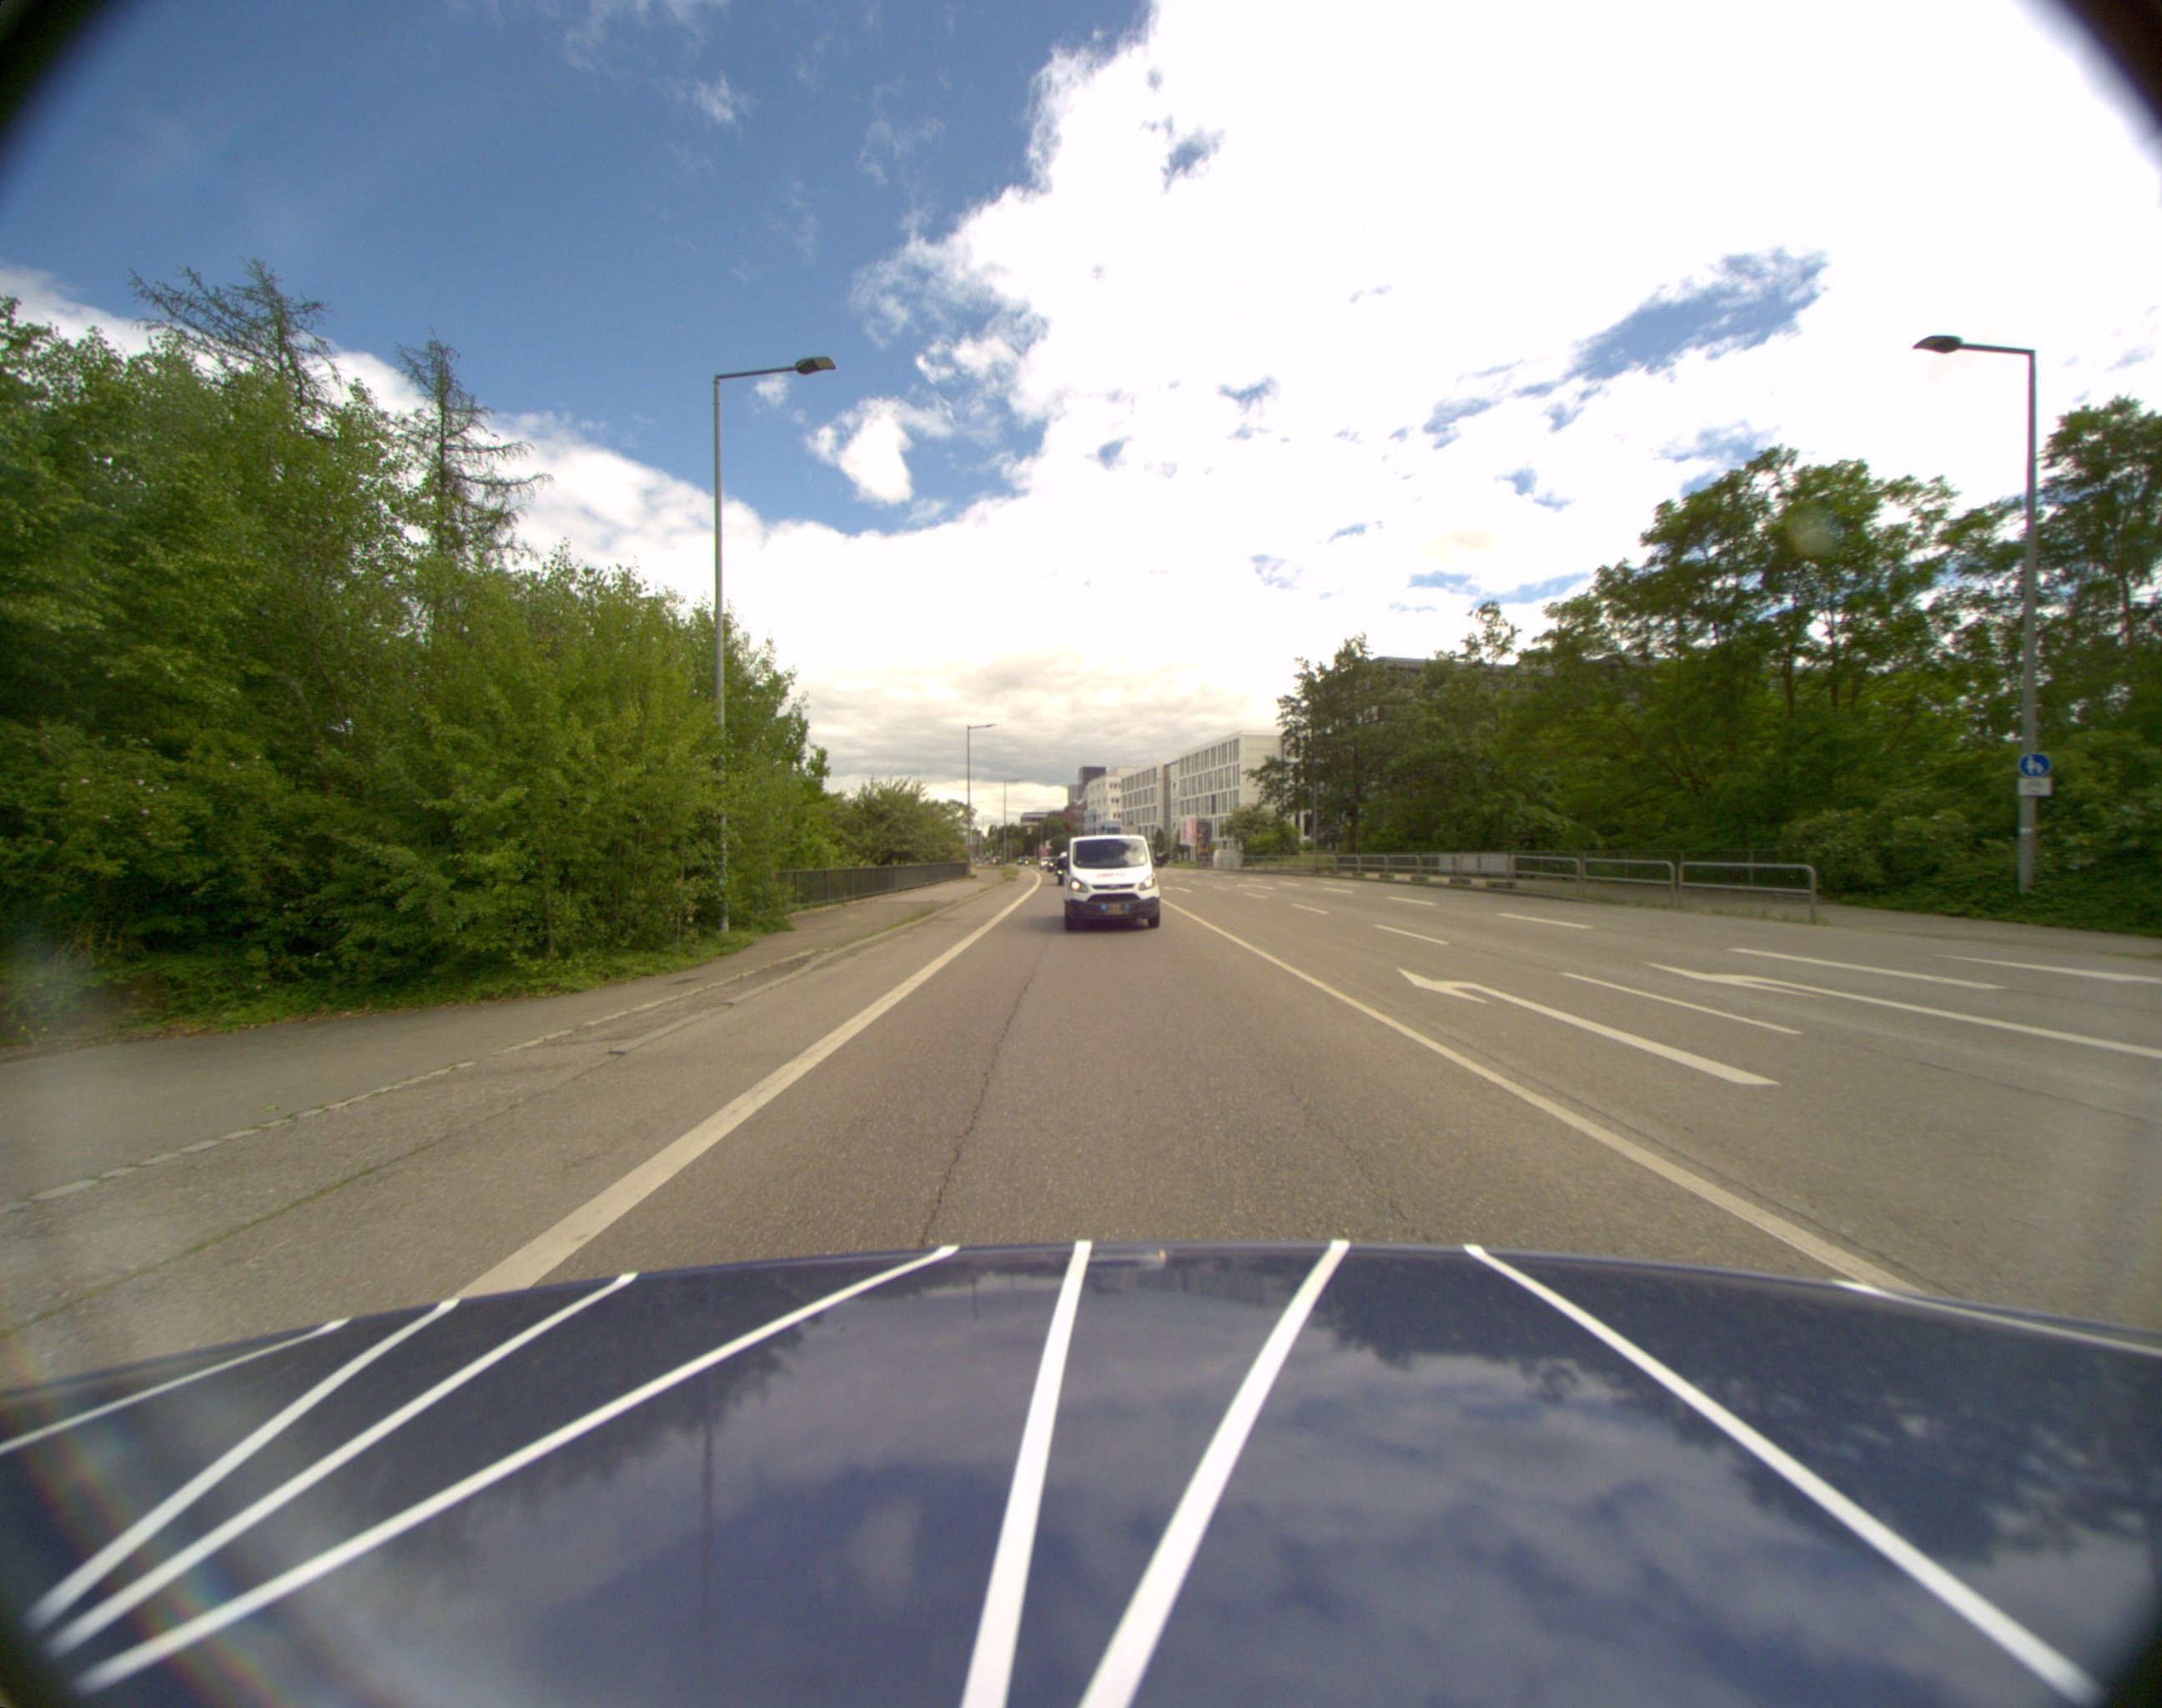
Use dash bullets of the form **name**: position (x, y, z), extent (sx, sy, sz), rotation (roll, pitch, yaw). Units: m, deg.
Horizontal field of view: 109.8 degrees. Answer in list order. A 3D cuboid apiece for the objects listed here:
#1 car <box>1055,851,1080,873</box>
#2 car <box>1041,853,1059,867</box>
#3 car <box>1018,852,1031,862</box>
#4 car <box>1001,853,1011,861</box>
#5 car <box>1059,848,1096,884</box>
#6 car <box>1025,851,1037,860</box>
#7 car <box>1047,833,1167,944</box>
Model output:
- **car**: position (-1.191, 0.633, 63.774), extent (1.873, 1.685, 4.369), rotation (-2, 0, -4)
- **car**: position (-3.857, 0.764, 95.415), extent (1.873, 1.685, 4.368), rotation (-2, 0, -7)
- **car**: position (-9.698, 0.491, 130.959), extent (1.873, 1.685, 4.368), rotation (-2, 0, -9)
- **car**: position (-14.992, 0.591, 151.055), extent (1.737, 1.432, 4.364), rotation (-2, 0, -9)
- **car**: position (-0.169, 0.629, 42.173), extent (1.872, 1.836, 4.371), rotation (-2, 0, 0)
- **car**: position (-9.270, 0.238, 140.205), extent (1.873, 1.685, 4.368), rotation (-2, 0, -9)
- **car**: position (0.511, 0.615, 16.873), extent (2.122, 1.963, 6.206), rotation (-2, 0, 1)
